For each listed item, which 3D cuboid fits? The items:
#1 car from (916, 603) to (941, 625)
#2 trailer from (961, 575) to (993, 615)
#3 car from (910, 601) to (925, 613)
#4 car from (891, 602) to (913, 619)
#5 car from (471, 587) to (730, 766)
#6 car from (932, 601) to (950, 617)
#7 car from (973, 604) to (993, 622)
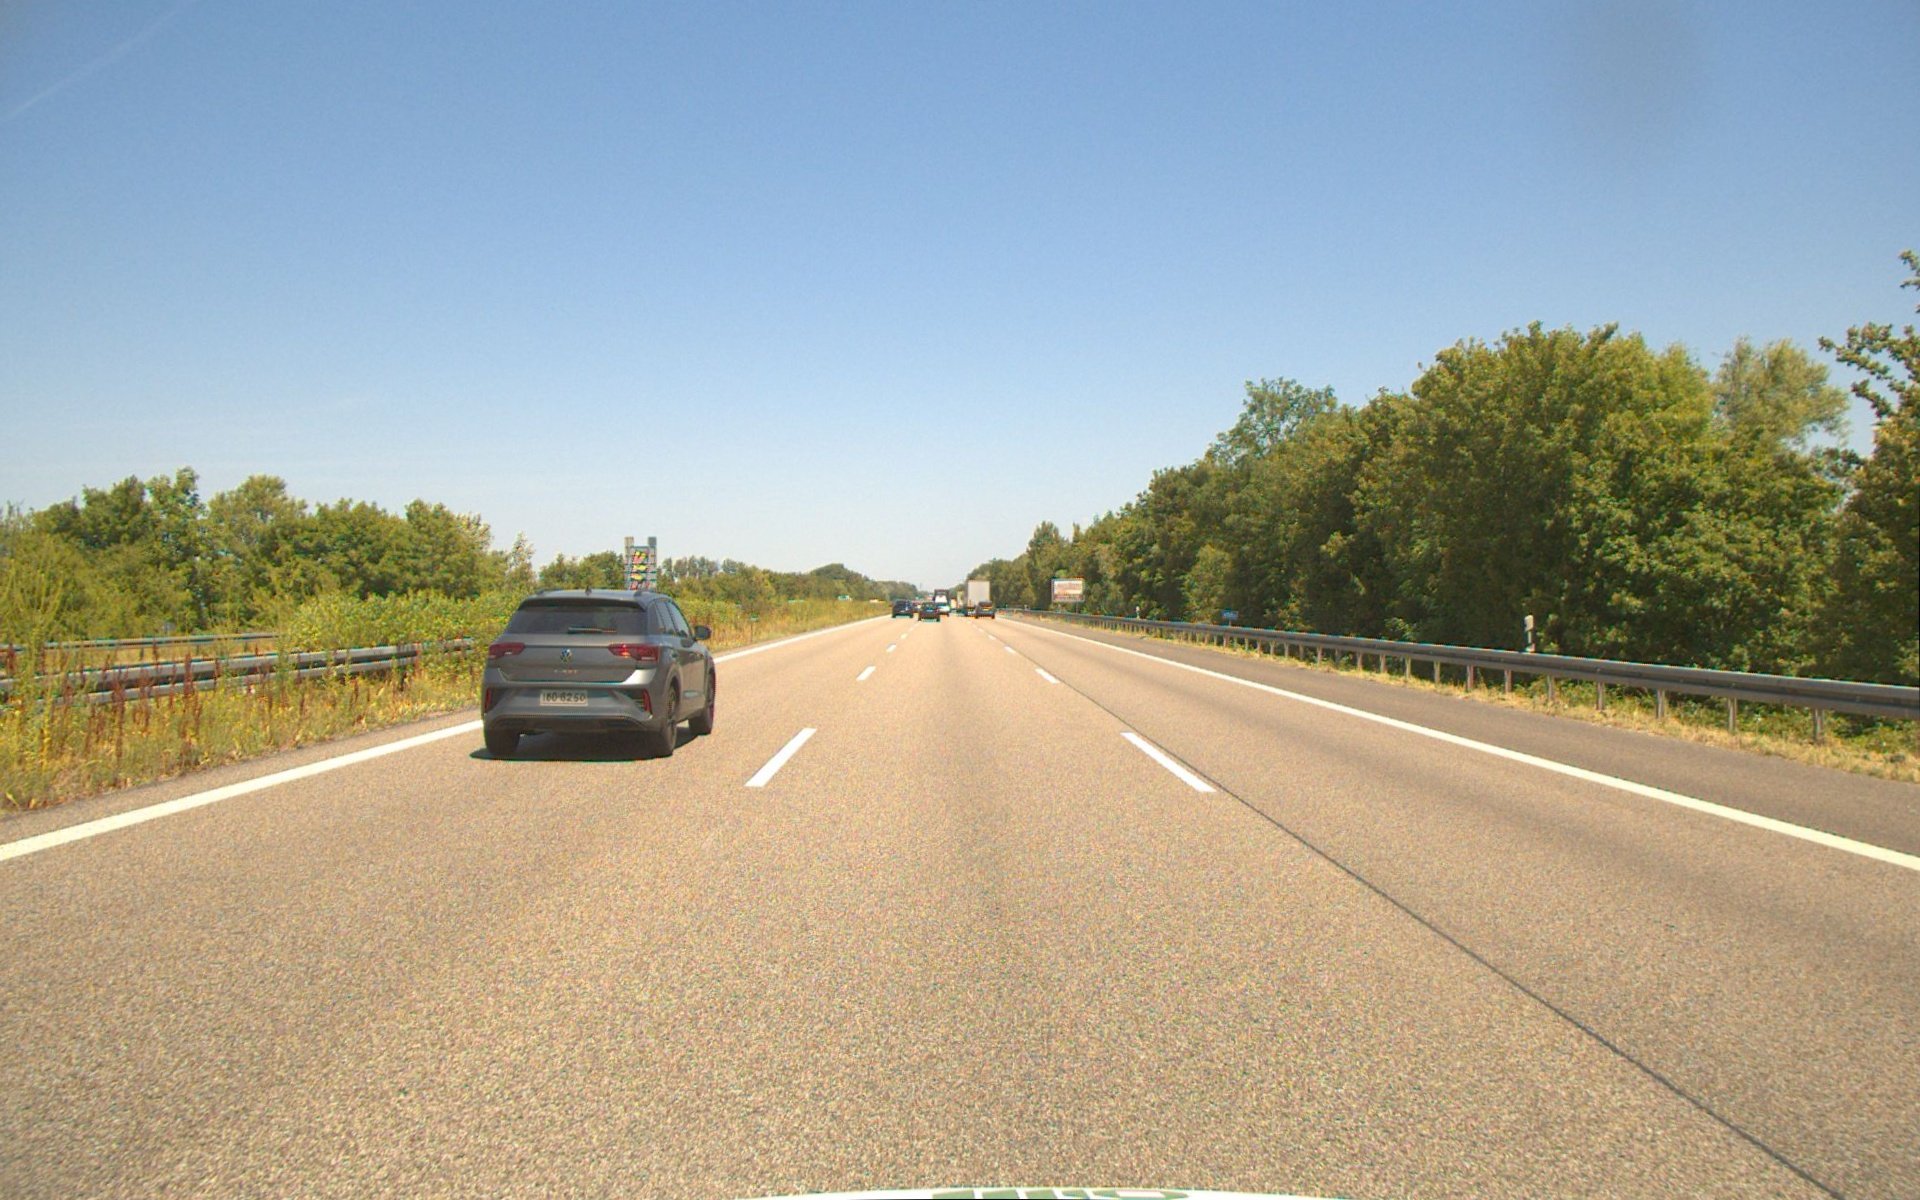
[{"bbox_3d":[-2.430,1.071,126.880,1.862,1.557,4.083,1,0,-1],"label":"car"},{"bbox_3d":[1.865,-0.501,188.826,3.364,4.254,13.629,1,-1,-1],"label":"trailer"},{"bbox_3d":[-5.646,0.893,220.965,1.869,1.557,4.284,1,0,-1],"label":"car"},{"bbox_3d":[-5.382,0.961,153.795,1.869,1.557,4.284,1,0,-1],"label":"car"},{"bbox_3d":[-3.487,0.673,16.823,1.723,1.557,4.284,1,0,-1],"label":"car"},{"bbox_3d":[-1.991,0.930,174.798,1.862,1.557,4.083,1,0,-1],"label":"car"},{"bbox_3d":[2.151,1.207,156.232,1.807,1.657,4.134,0,0,0],"label":"car"}]
